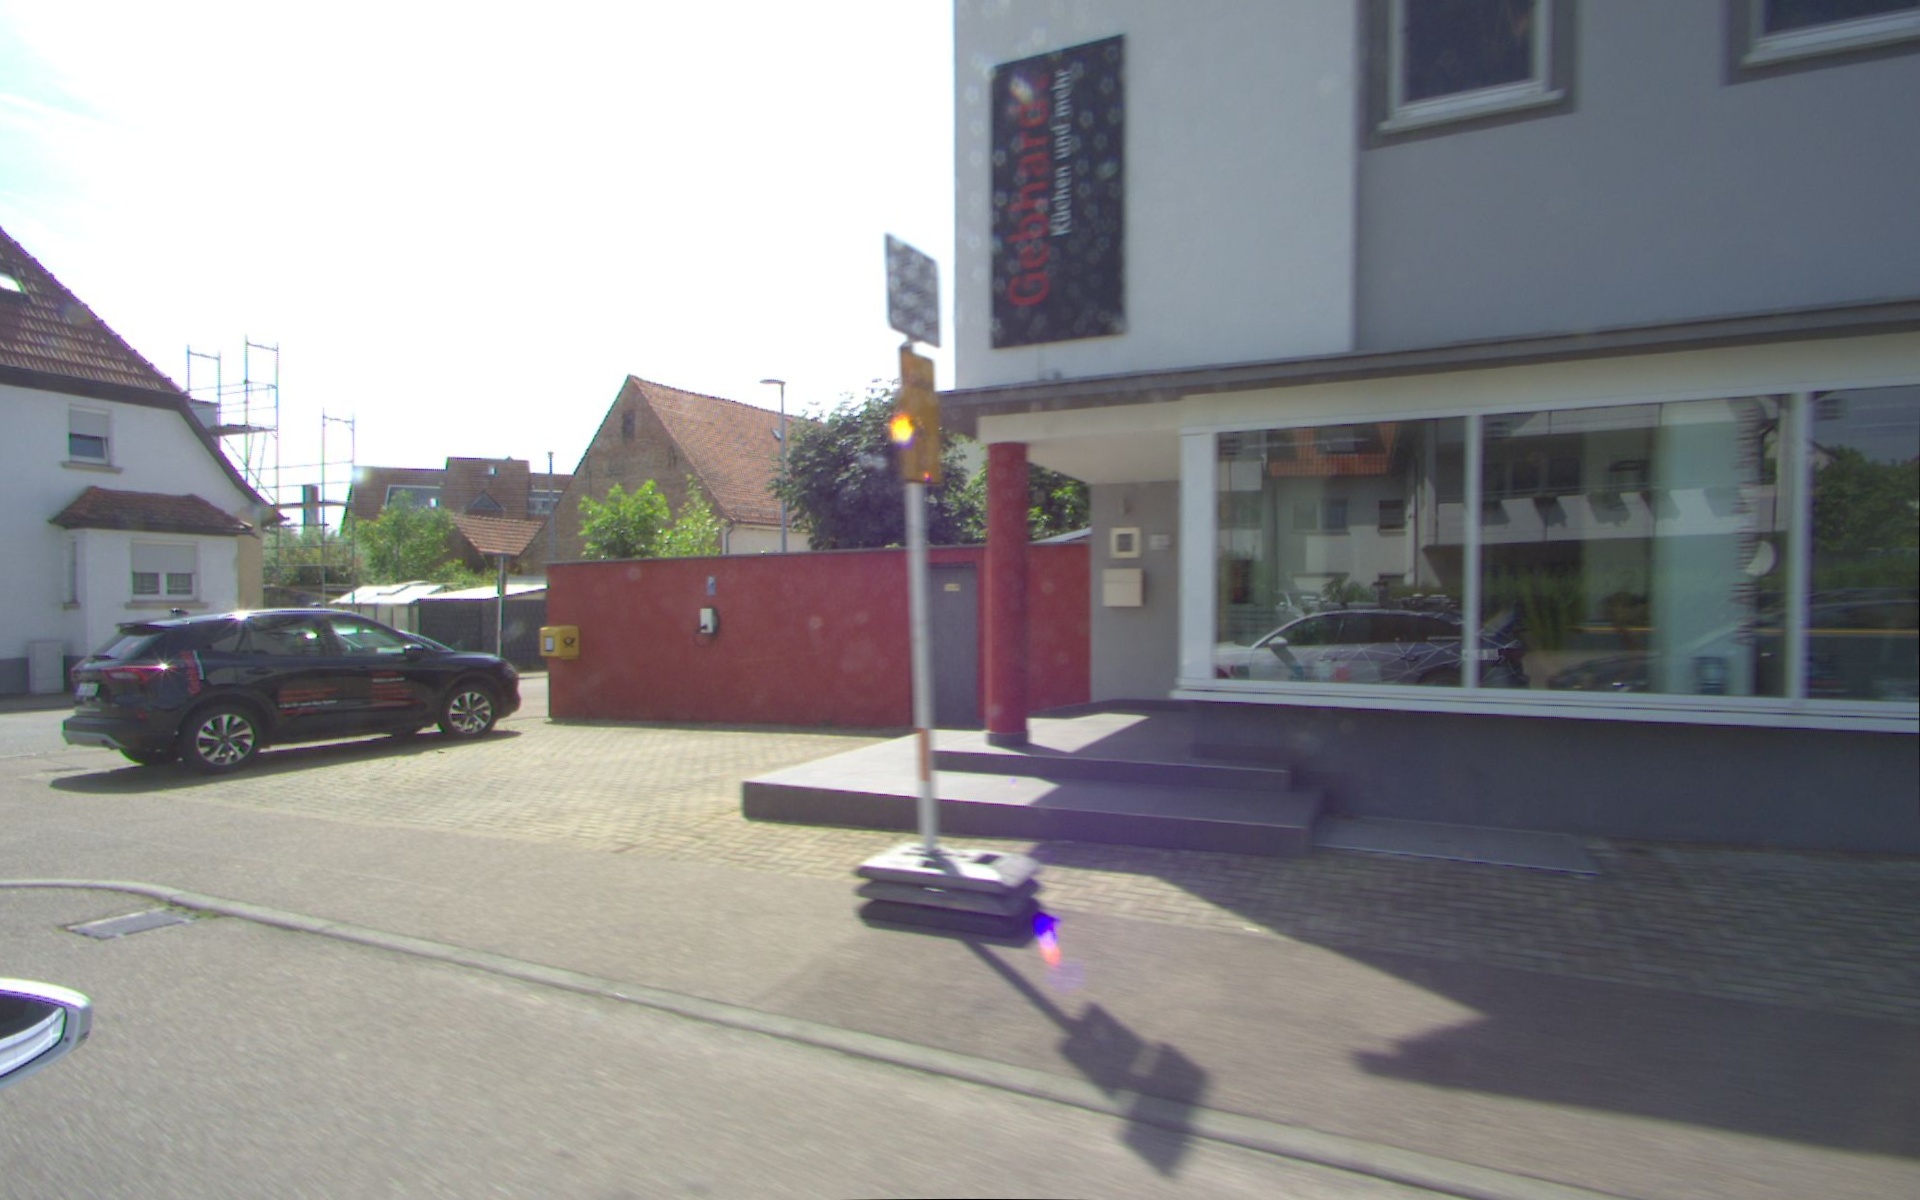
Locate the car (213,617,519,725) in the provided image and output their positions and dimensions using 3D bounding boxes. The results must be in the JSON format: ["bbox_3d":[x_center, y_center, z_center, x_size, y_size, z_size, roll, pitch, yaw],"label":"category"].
[{"bbox_3d":[-9.447,1.039,16.241,1.670,1.523,3.980,0,-1,32],"label":"car"}]

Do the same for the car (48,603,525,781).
[{"bbox_3d":[-7.557,0.906,11.707,1.821,1.675,4.286,0,-1,32],"label":"car"}]
